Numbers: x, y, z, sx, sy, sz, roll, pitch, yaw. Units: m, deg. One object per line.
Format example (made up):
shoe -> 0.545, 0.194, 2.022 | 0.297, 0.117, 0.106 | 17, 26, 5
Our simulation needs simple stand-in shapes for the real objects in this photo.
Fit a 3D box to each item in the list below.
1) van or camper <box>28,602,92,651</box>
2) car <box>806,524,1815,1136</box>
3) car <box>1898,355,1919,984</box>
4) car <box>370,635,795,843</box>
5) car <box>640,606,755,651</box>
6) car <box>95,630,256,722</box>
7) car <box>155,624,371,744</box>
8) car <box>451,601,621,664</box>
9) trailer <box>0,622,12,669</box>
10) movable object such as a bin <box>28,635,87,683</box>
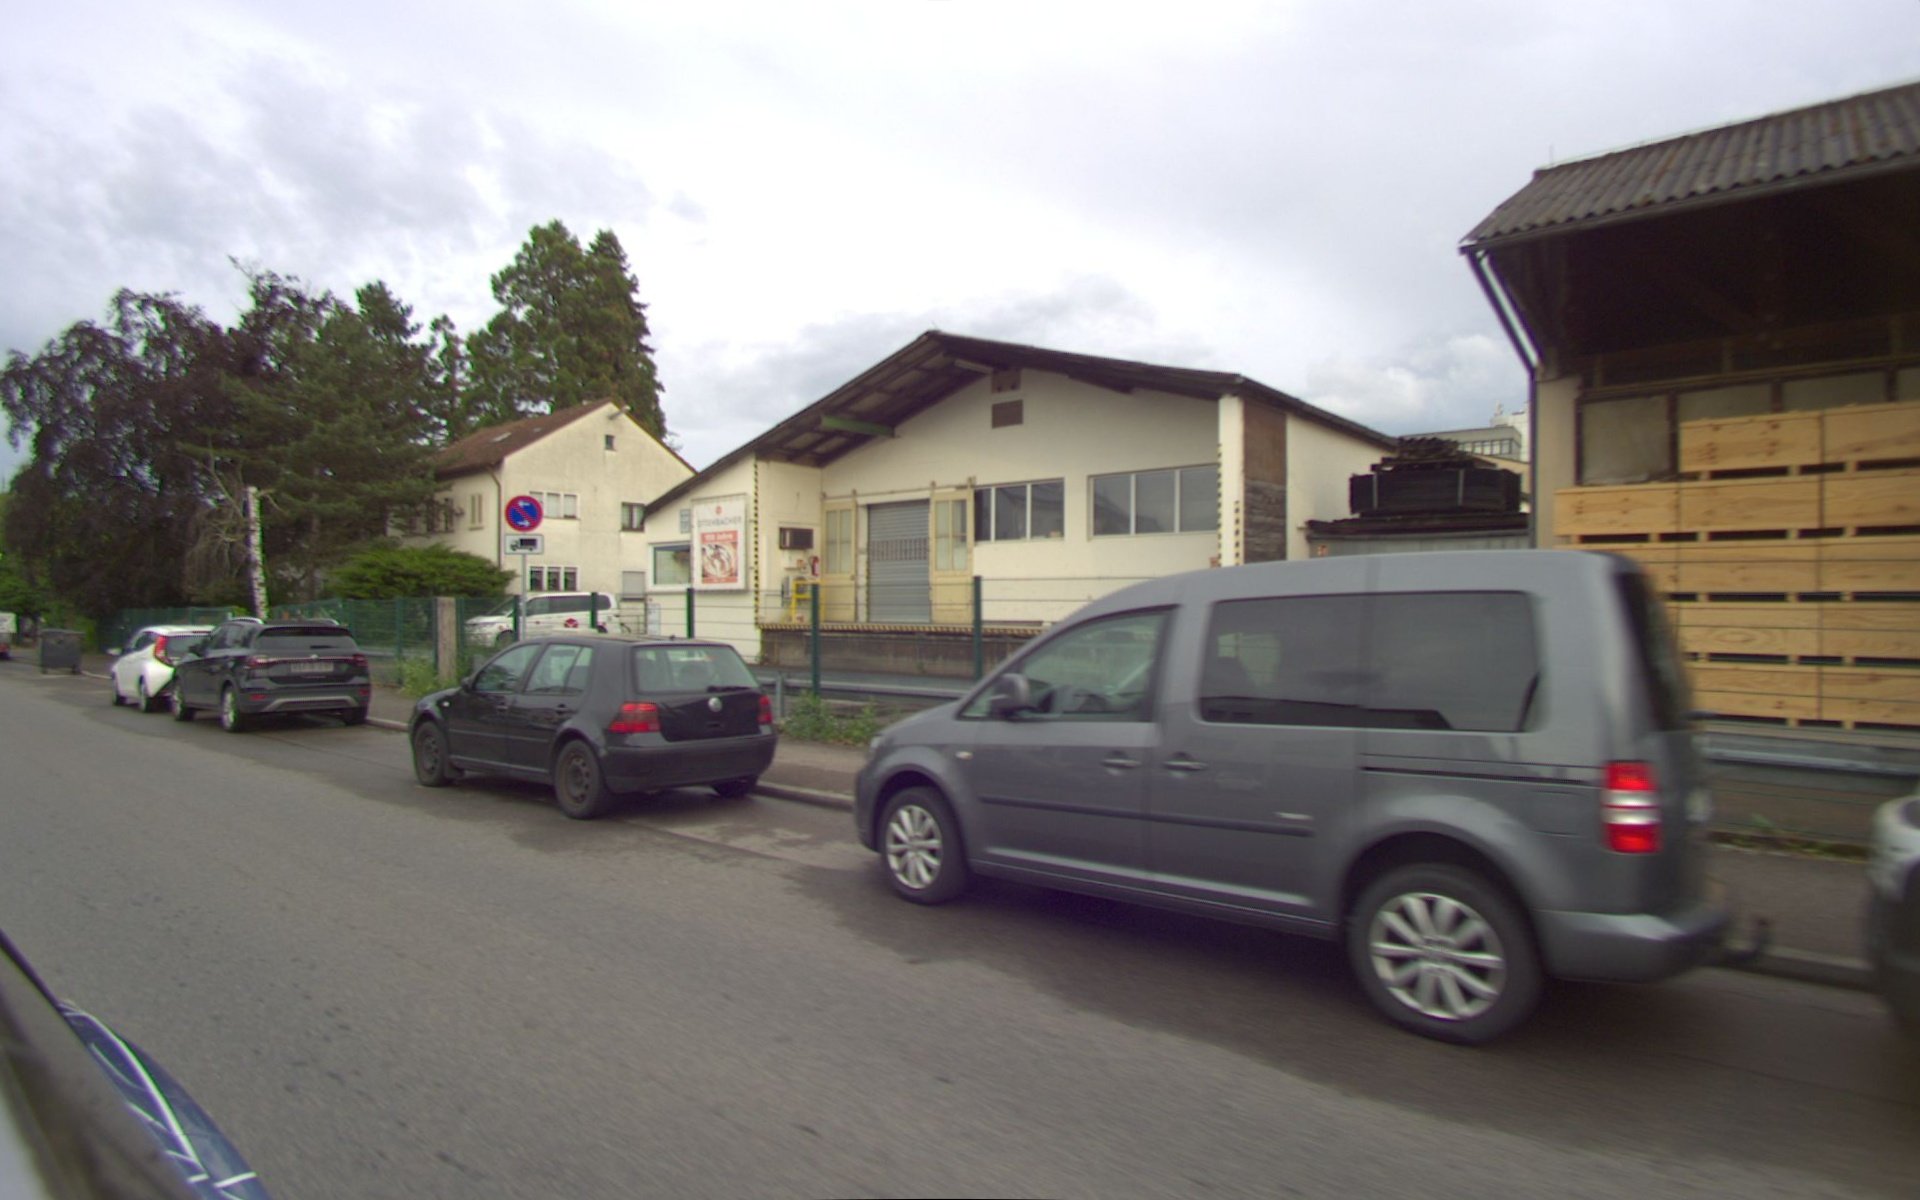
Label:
van or camper -> -60.466, 1.754, 67.936 | 6.145, 3.058, 2.280 | -1, 0, 39
car -> 1.377, 0.755, 5.102 | 4.443, 1.782, 1.751 | -1, -5, 41
car -> 5.746, 0.289, 1.319 | 6.455, 2.445, 2.136 | -2, -4, 40
car -> -3.574, 1.055, 9.204 | 4.312, 1.459, 1.645 | -1, -3, 39
car -> -10.065, 1.055, 39.000 | 1.785, 1.563, 3.944 | -1, 0, 42
car -> -14.360, 1.305, 18.471 | 3.658, 1.520, 1.600 | -1, -2, 41
car -> -10.604, 1.175, 15.306 | 3.912, 1.596, 1.644 | -1, -3, 40
car -> -14.333, 1.039, 34.453 | 2.000, 1.871, 4.945 | -1, 0, 42
trailer -> -38.449, 1.779, 39.303 | 4.545, 1.779, 1.910 | -2, -1, 41
movable object such as a bin -> -26.525, 1.713, 29.748 | 1.424, 1.320, 1.090 | -1, 0, 40
